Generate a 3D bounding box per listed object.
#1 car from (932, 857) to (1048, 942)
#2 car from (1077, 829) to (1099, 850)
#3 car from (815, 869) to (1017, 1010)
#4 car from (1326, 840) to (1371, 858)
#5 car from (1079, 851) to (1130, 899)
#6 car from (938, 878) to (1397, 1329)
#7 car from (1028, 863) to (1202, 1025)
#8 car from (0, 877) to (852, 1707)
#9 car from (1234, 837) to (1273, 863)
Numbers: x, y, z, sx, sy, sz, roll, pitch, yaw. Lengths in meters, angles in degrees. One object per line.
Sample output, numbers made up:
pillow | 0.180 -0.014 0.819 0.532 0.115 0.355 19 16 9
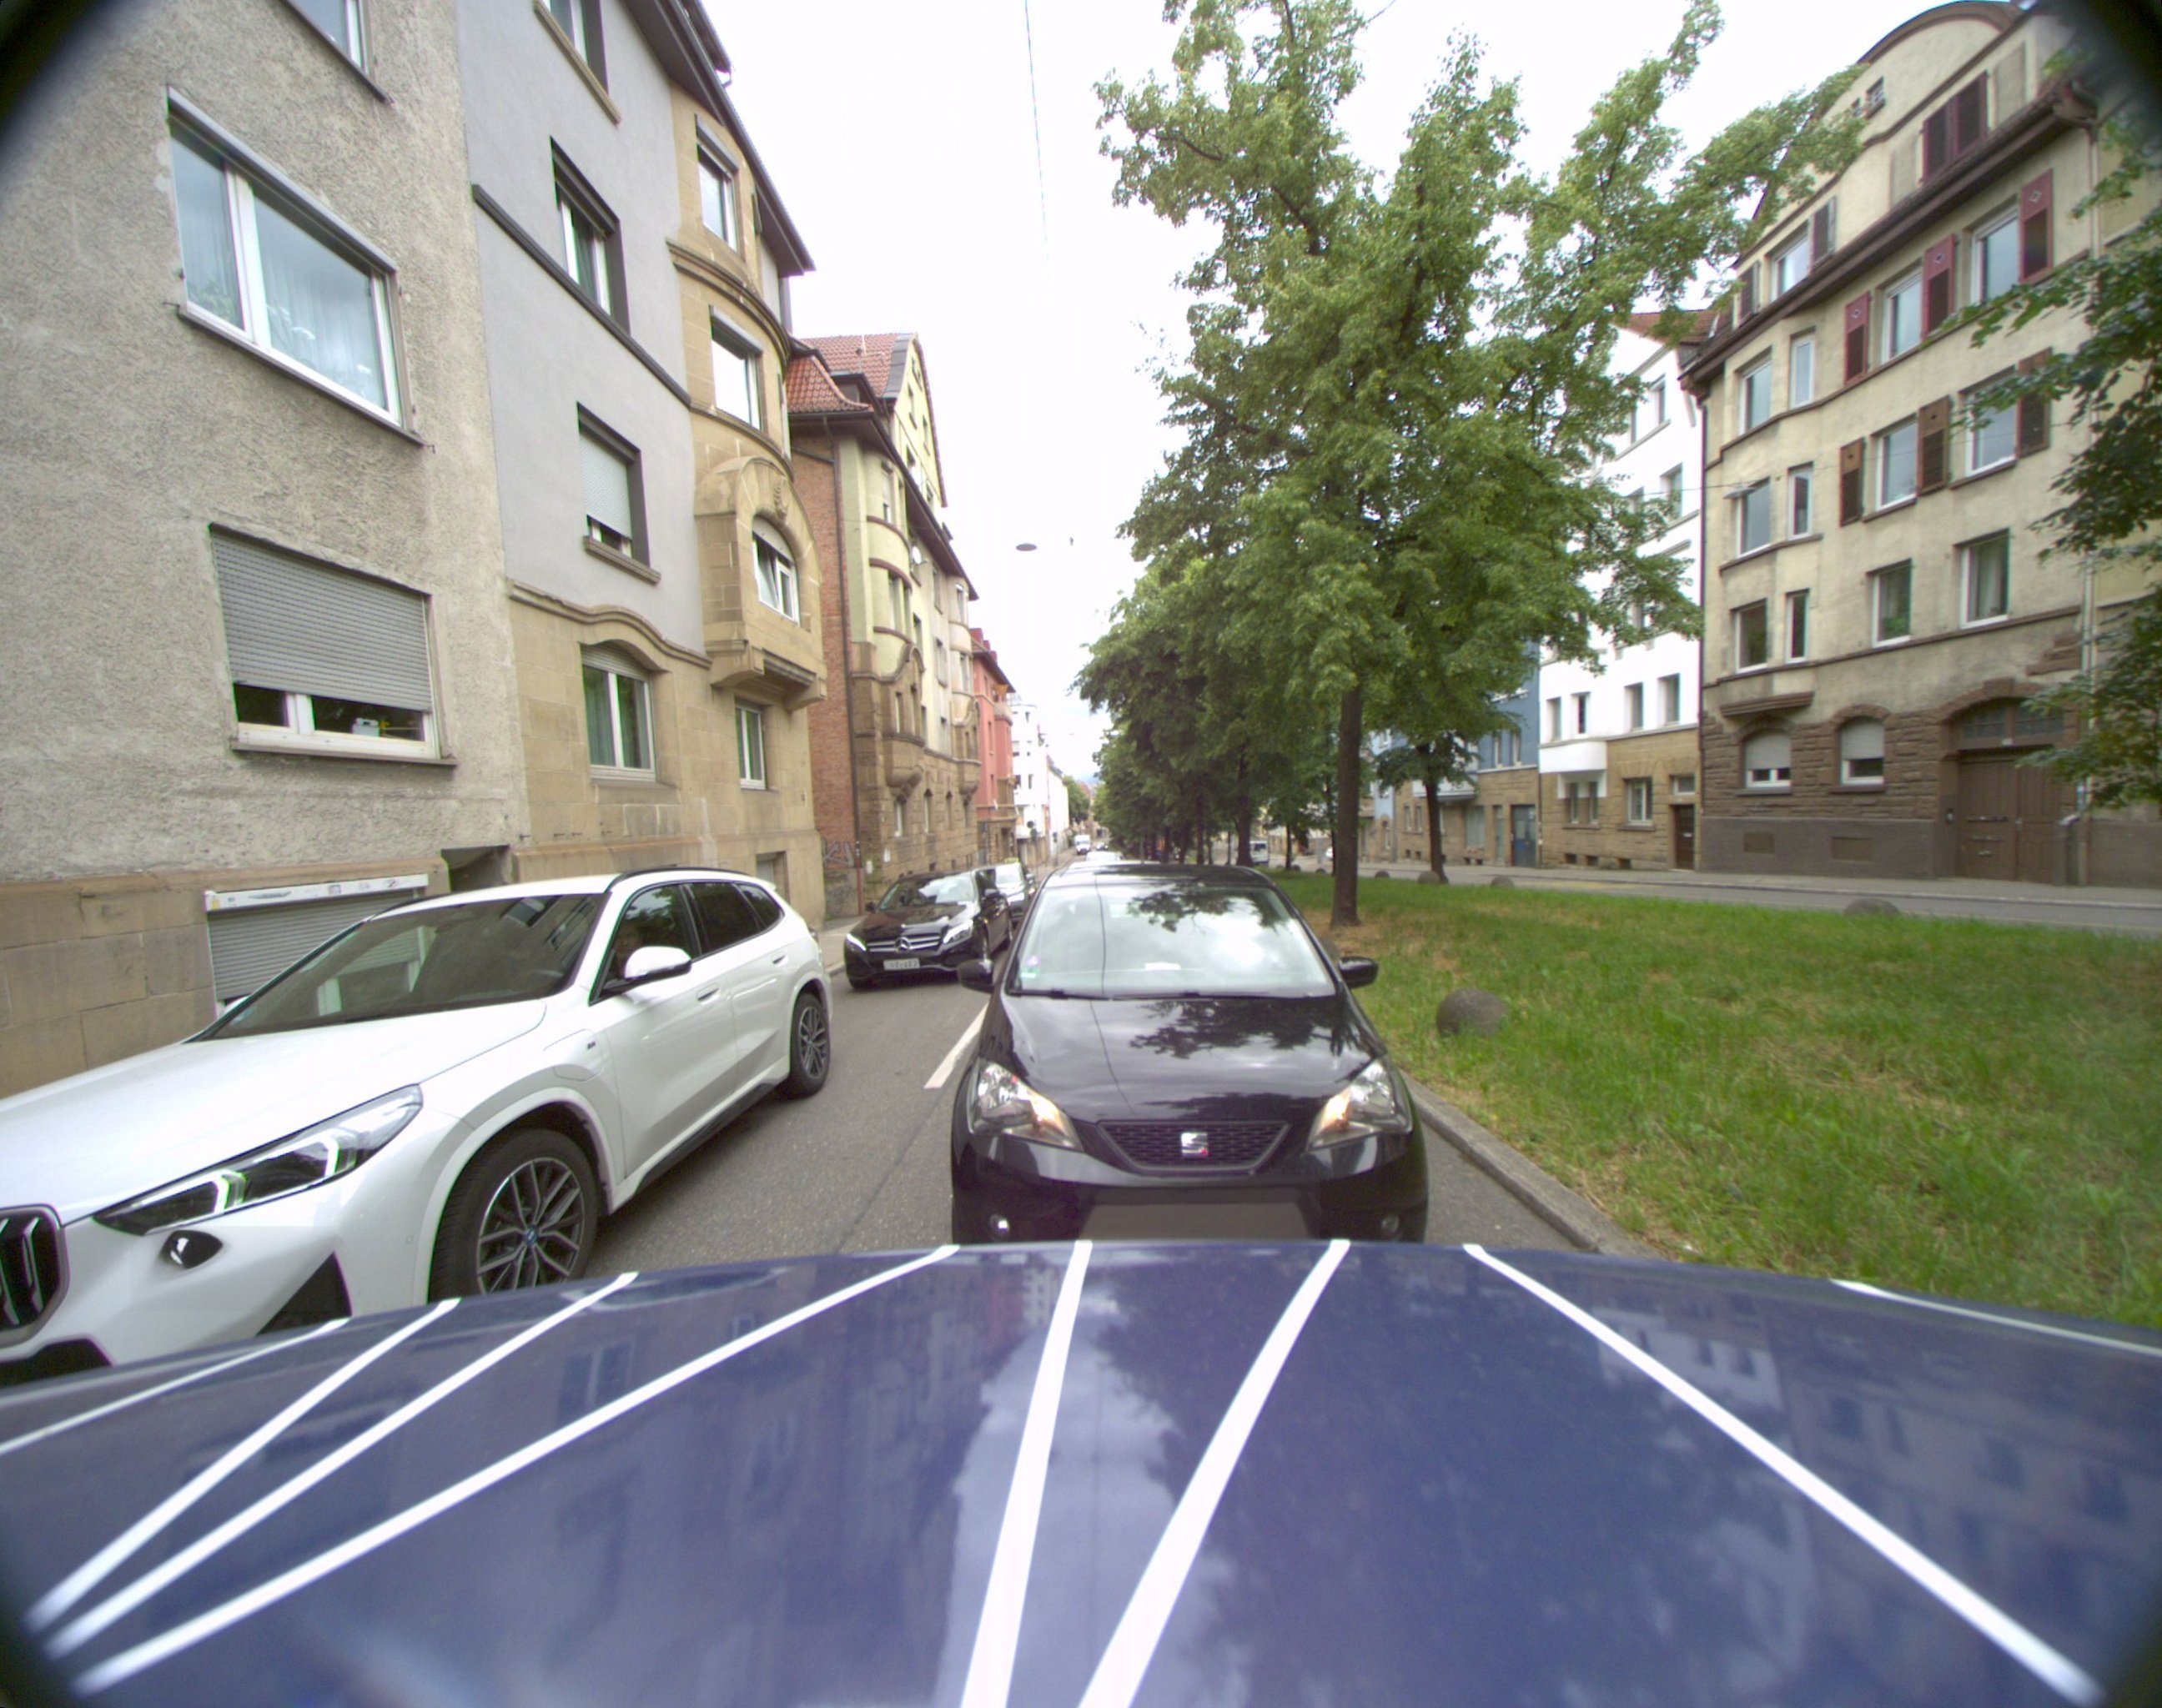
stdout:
car | -2.002 0.968 18.047 1.936 1.506 4.303 -6 1 2
car | 1.131 -2.127 111.789 2.715 2.879 6.454 -2 1 4
car | -2.147 1.068 11.183 1.884 1.369 4.205 -6 1 1
car | 22.193 -0.440 63.111 3.291 1.323 1.672 -2 1 10
car | 0.799 0.689 26.916 1.607 1.492 3.737 -2 1 1
car | 0.328 0.941 4.334 1.611 1.457 3.296 0 1 1
car | 0.359 0.915 9.301 1.664 1.456 3.580 -2 1 1
car | -2.799 1.080 3.724 1.859 1.547 4.350 -6 1 0
car | 13.757 -0.309 60.984 1.998 1.933 5.307 -3 0 1
